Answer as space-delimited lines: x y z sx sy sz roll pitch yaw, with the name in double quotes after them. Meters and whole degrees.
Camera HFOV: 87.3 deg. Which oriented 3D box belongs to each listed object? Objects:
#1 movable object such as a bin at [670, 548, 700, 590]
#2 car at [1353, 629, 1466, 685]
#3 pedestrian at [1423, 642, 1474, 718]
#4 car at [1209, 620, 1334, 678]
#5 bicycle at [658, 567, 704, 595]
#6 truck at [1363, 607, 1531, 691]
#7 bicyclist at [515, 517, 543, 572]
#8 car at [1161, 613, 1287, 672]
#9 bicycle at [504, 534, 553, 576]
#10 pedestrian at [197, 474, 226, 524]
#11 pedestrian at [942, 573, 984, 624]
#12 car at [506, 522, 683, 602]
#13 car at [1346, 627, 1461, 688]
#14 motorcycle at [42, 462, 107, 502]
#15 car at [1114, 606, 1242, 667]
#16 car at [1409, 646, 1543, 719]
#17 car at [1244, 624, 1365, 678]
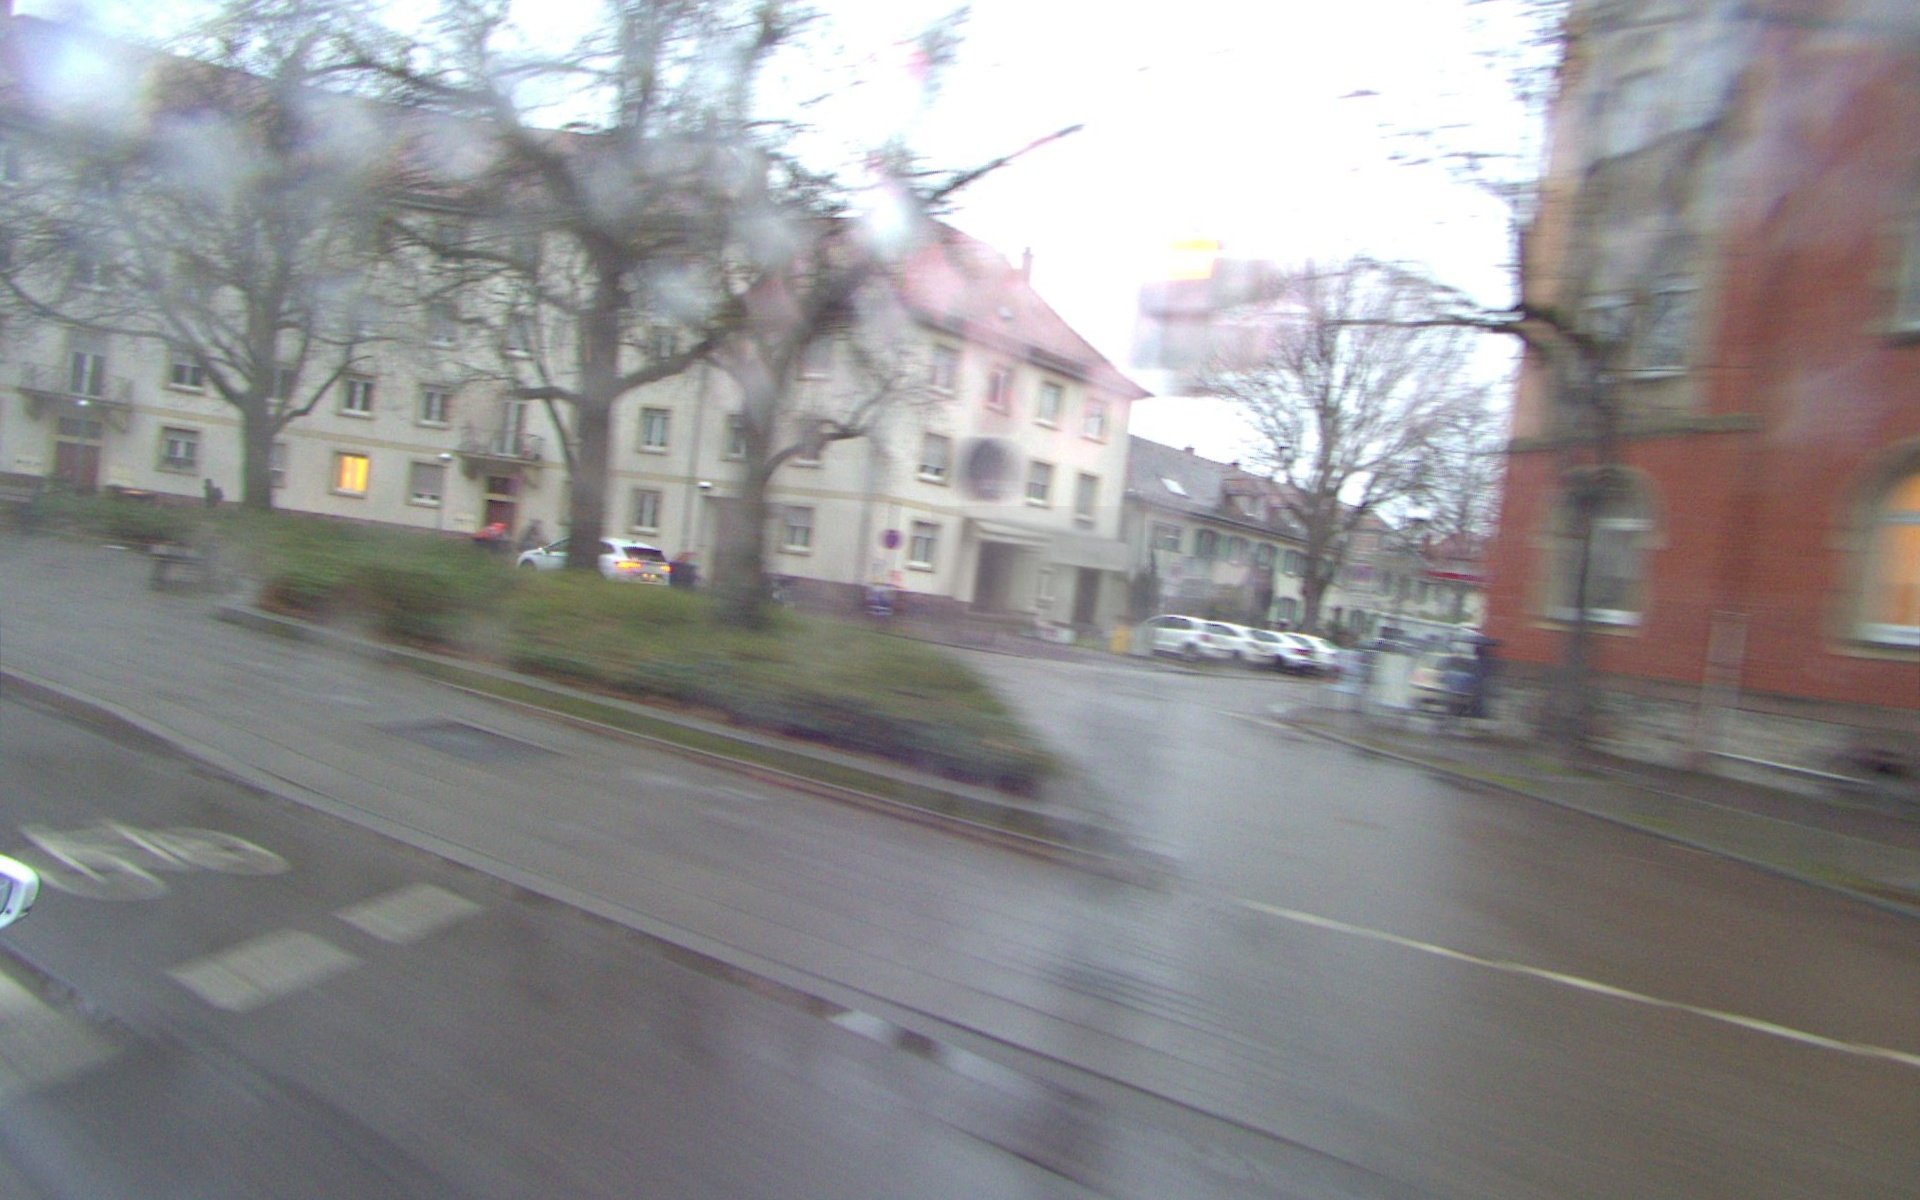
-8.732 -0.990 31.933 0.638 1.244 0.528 7 2 15 "movable object such as a bin"
21.279 2.678 47.729 1.988 2.040 4.271 5 2 -45 "car"
10.621 1.733 21.873 0.543 1.545 0.636 7 1 -41 "pedestrian"
11.350 1.766 36.884 1.833 1.494 3.962 7 1 -34 "car"
-9.396 -0.638 33.836 1.560 0.776 0.339 8 2 25 "bicycle"
23.795 2.336 49.381 2.615 3.132 6.648 5 2 -44 "truck"
-15.749 -2.025 36.752 0.667 1.911 0.467 8 2 27 "bicyclist"
9.315 1.492 35.787 1.833 1.494 3.962 7 1 -34 "car"
-15.768 -1.653 36.749 1.880 1.308 0.467 8 2 27 "bicycle"
-26.970 -3.625 36.247 0.708 1.682 0.680 5 3 -37 "pedestrian"
0.113 -0.044 35.442 0.749 1.663 1.116 9 2 43 "pedestrian"
-9.584 -1.002 26.240 4.676 1.531 1.891 9 5 34 "car"
18.869 2.427 42.944 1.833 1.958 3.962 6 1 -34 "car"
-30.640 -4.077 34.831 1.576 1.121 0.568 7 4 -9 "motorcycle"
7.364 1.204 34.260 1.833 1.505 3.962 7 1 -34 "car"
13.107 2.115 25.442 3.973 1.515 1.627 6 2 -43 "car"
13.223 1.931 38.820 1.833 1.494 3.962 7 1 -34 "car"
